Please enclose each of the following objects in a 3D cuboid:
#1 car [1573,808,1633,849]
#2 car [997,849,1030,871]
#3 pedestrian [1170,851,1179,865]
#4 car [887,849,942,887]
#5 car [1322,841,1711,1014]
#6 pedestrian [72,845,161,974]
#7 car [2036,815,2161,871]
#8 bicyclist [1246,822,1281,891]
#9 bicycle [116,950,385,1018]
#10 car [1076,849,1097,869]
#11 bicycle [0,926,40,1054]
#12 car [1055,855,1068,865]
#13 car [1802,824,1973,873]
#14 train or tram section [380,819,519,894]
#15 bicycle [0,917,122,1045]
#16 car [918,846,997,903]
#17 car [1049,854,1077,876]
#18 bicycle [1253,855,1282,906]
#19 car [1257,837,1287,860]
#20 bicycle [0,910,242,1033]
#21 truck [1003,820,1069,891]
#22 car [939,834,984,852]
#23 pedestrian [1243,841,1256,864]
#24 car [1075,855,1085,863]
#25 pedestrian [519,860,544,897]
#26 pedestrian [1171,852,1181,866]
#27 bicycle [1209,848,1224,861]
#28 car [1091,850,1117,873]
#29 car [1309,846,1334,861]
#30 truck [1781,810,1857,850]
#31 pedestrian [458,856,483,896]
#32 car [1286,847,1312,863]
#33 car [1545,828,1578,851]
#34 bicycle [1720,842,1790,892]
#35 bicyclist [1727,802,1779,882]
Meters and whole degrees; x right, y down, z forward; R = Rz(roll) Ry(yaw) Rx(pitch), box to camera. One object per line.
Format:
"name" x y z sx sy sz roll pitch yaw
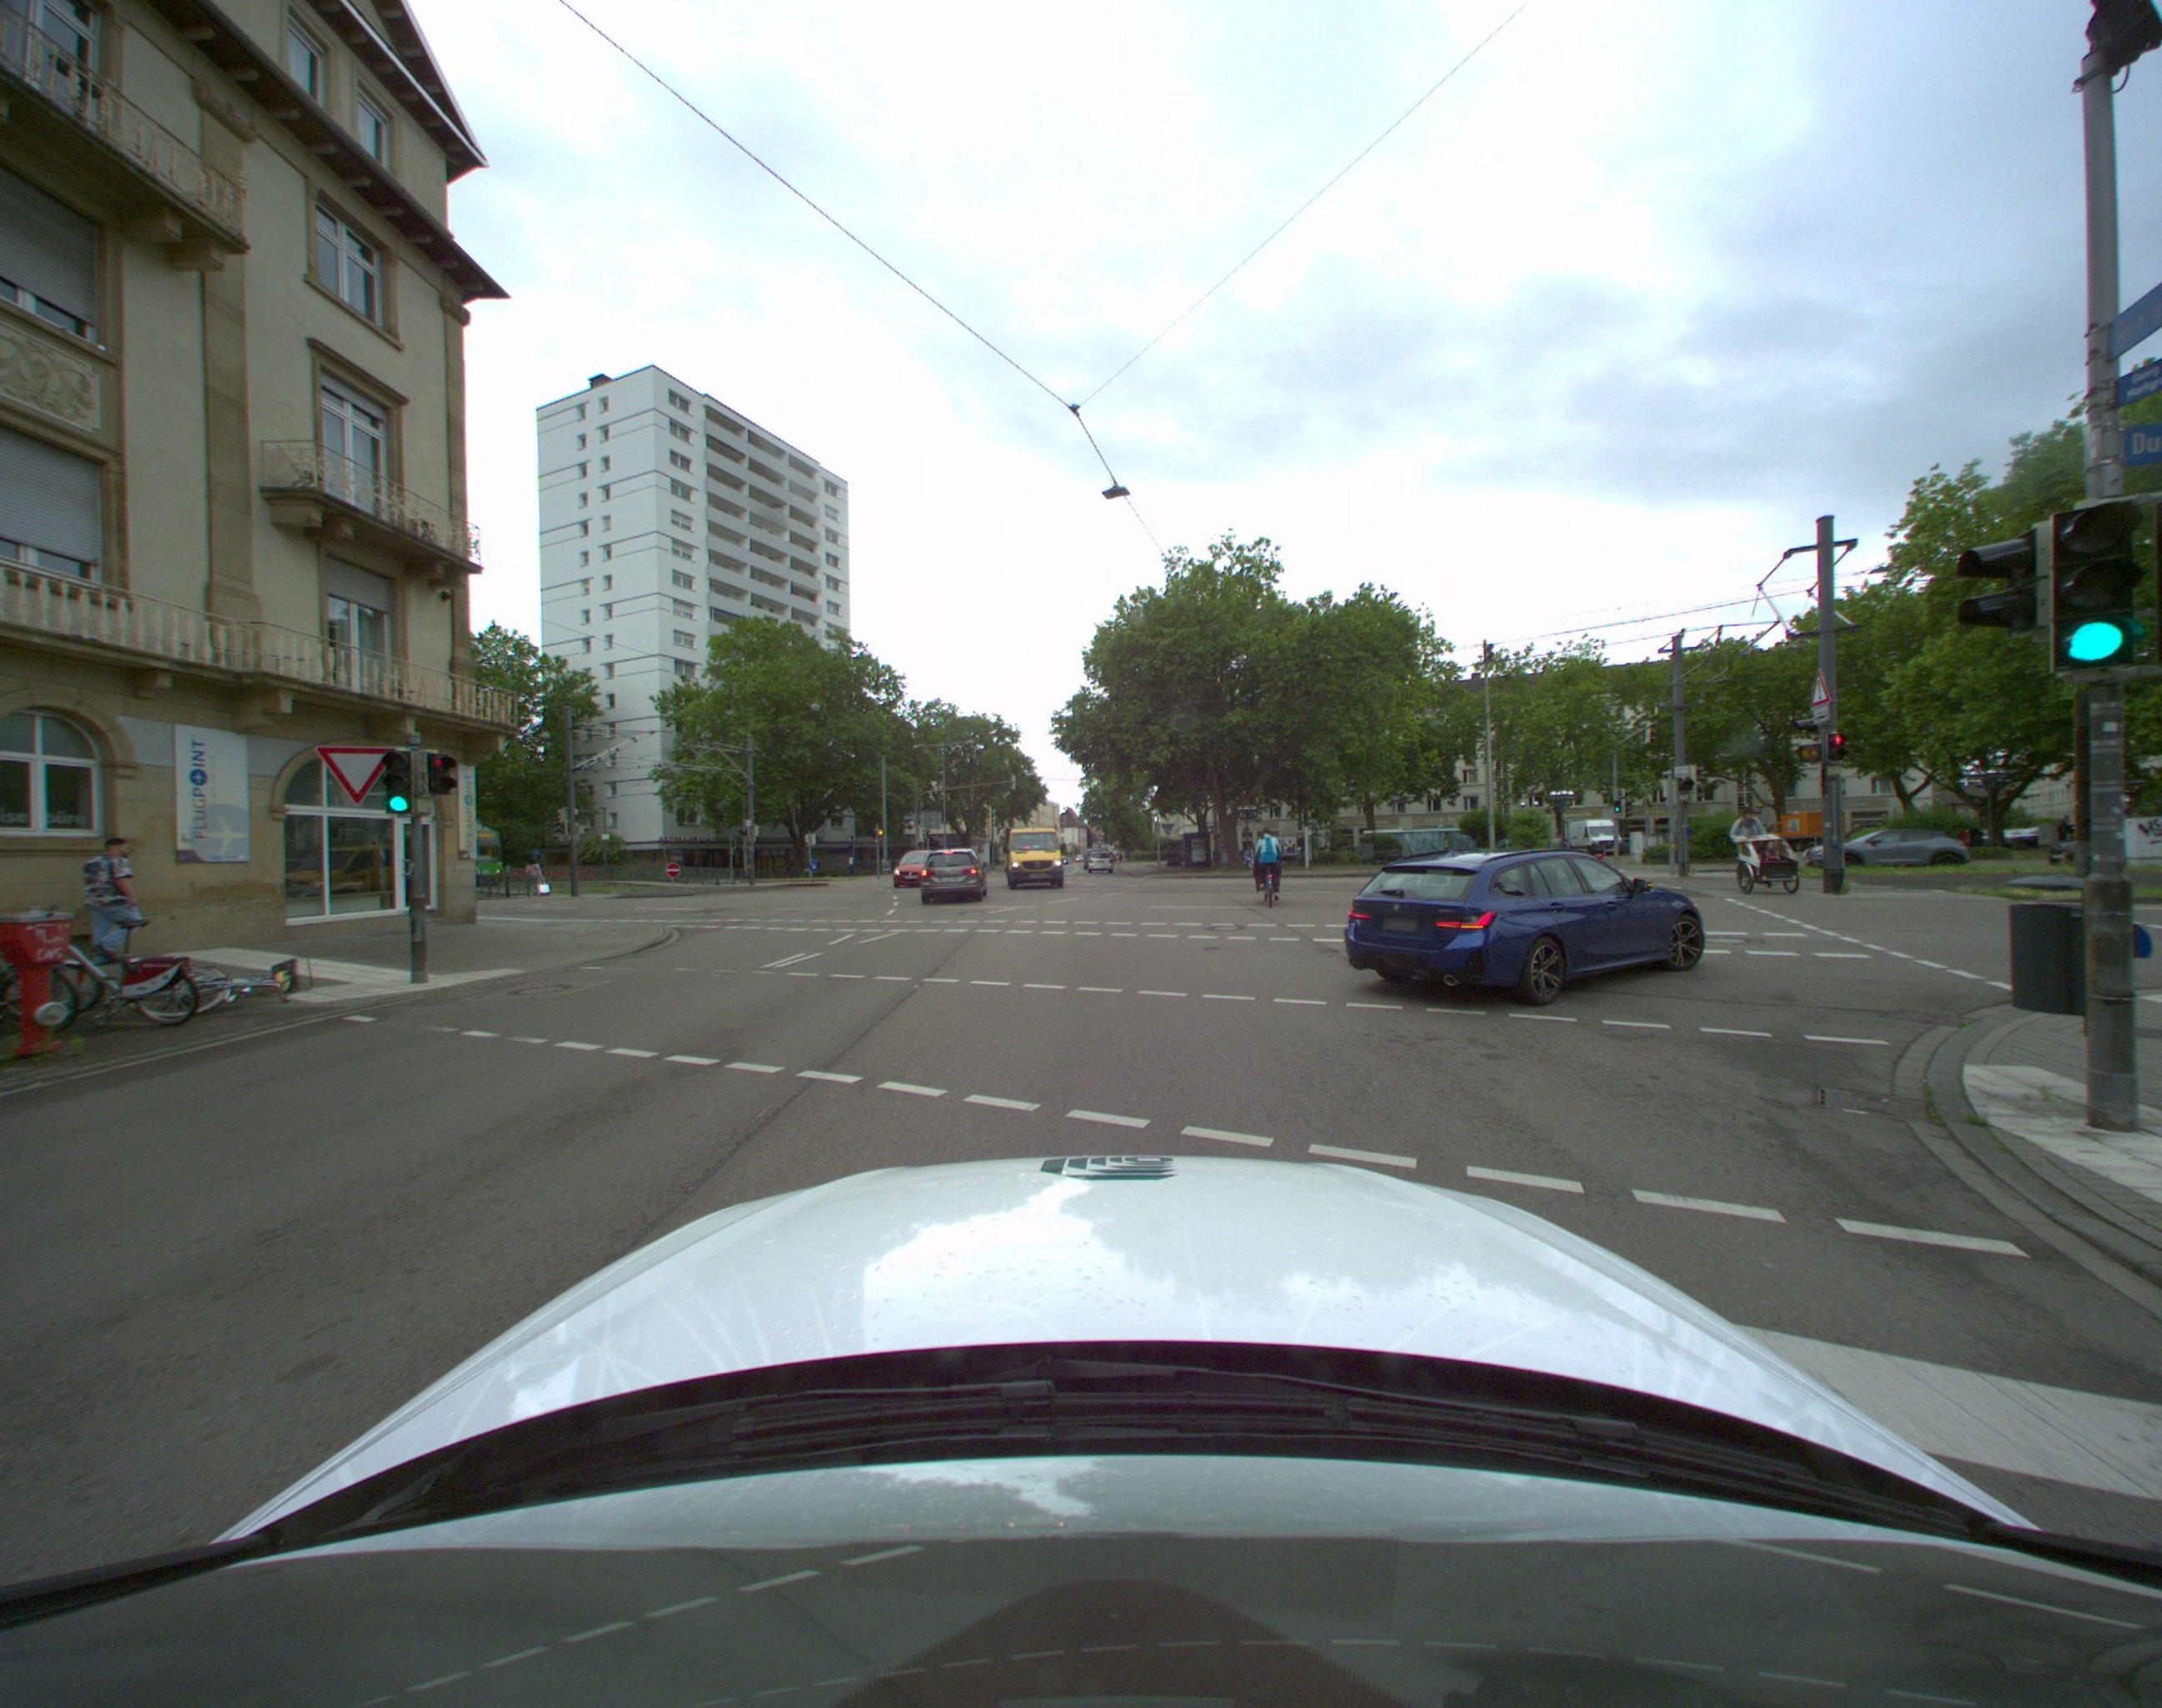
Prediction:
"car" 36.284 -1.736 56.785 2.217 2.639 5.474 -2 0 19
"car" -6.072 0.495 73.507 1.857 1.826 5.237 -2 0 7
"pedestrian" 9.135 0.395 79.467 0.815 1.372 0.762 -2 0 0
"car" -7.235 0.568 35.817 1.728 1.525 3.996 -2 0 -3
"car" 4.880 0.628 8.967 4.334 1.405 1.803 -2 0 -31
"pedestrian" -13.823 0.775 11.687 0.564 1.785 0.551 -2 0 1
"car" 34.184 -0.358 26.323 3.902 1.711 1.697 -2 0 23
"bicyclist" 4.203 0.052 18.843 0.681 1.517 1.061 -2 0 9
"bicycle" -9.148 1.427 9.056 1.881 0.445 1.028 4 2 -2
"car" 0.508 0.492 78.932 1.988 1.848 3.998 -2 0 -1
"bicycle" -10.034 1.106 6.835 1.881 1.035 0.442 4 0 -2
"car" -3.080 0.940 127.194 1.847 1.453 4.168 -1 0 1
"car" 28.394 -0.182 28.837 3.941 1.561 1.697 -2 0 23
"train or tram section" -34.136 0.167 43.975 7.173 3.761 2.701 -2 0 23
"bicycle" -10.063 1.123 7.471 1.881 1.035 0.442 4 0 -2
"car" -3.657 0.565 24.778 1.726 1.525 4.000 -2 0 1
"car" -1.235 0.753 57.572 1.803 1.427 4.317 -2 0 1
"bicycle" 4.362 0.589 19.110 0.491 1.098 2.144 -2 0 9
"car" 19.593 -0.567 83.278 2.154 2.200 4.023 -2 0 25
"bicycle" -9.495 1.142 8.017 1.881 1.035 0.442 4 0 -2
"truck" -1.855 0.039 31.595 2.073 2.408 5.448 -2 0 -7
"car" -12.049 -1.106 82.245 4.010 1.706 1.982 -1 -1 -28
"pedestrian" 13.331 -0.122 64.513 0.781 1.743 0.925 -2 0 -1
"car" -0.203 0.990 168.922 1.761 1.486 4.001 -2 0 1
"pedestrian" -24.229 1.079 35.892 0.724 1.602 0.591 -2 0 24
"pedestrian" 9.116 0.435 78.514 0.850 1.314 0.762 -2 0 0
"bicycle" 13.444 0.034 80.752 0.771 1.168 2.346 -2 0 26
"car" 1.680 0.522 61.126 1.809 1.592 4.000 -2 0 1
"car" 24.245 -0.046 81.944 1.779 1.440 3.849 -2 0 26
"truck" 50.676 -1.633 56.030 2.361 2.591 4.018 -2 0 17
"pedestrian" -28.931 1.035 38.600 0.724 1.864 0.591 -2 0 24
"car" 21.993 0.074 82.112 1.779 1.543 3.849 -2 0 26
"car" 33.486 -1.012 56.829 1.649 1.515 3.962 -2 0 27
"bicycle" 14.275 0.248 17.298 0.546 0.995 2.072 -2 0 23
"bicyclist" 14.277 -0.255 17.324 0.608 1.654 0.758 -2 0 22
